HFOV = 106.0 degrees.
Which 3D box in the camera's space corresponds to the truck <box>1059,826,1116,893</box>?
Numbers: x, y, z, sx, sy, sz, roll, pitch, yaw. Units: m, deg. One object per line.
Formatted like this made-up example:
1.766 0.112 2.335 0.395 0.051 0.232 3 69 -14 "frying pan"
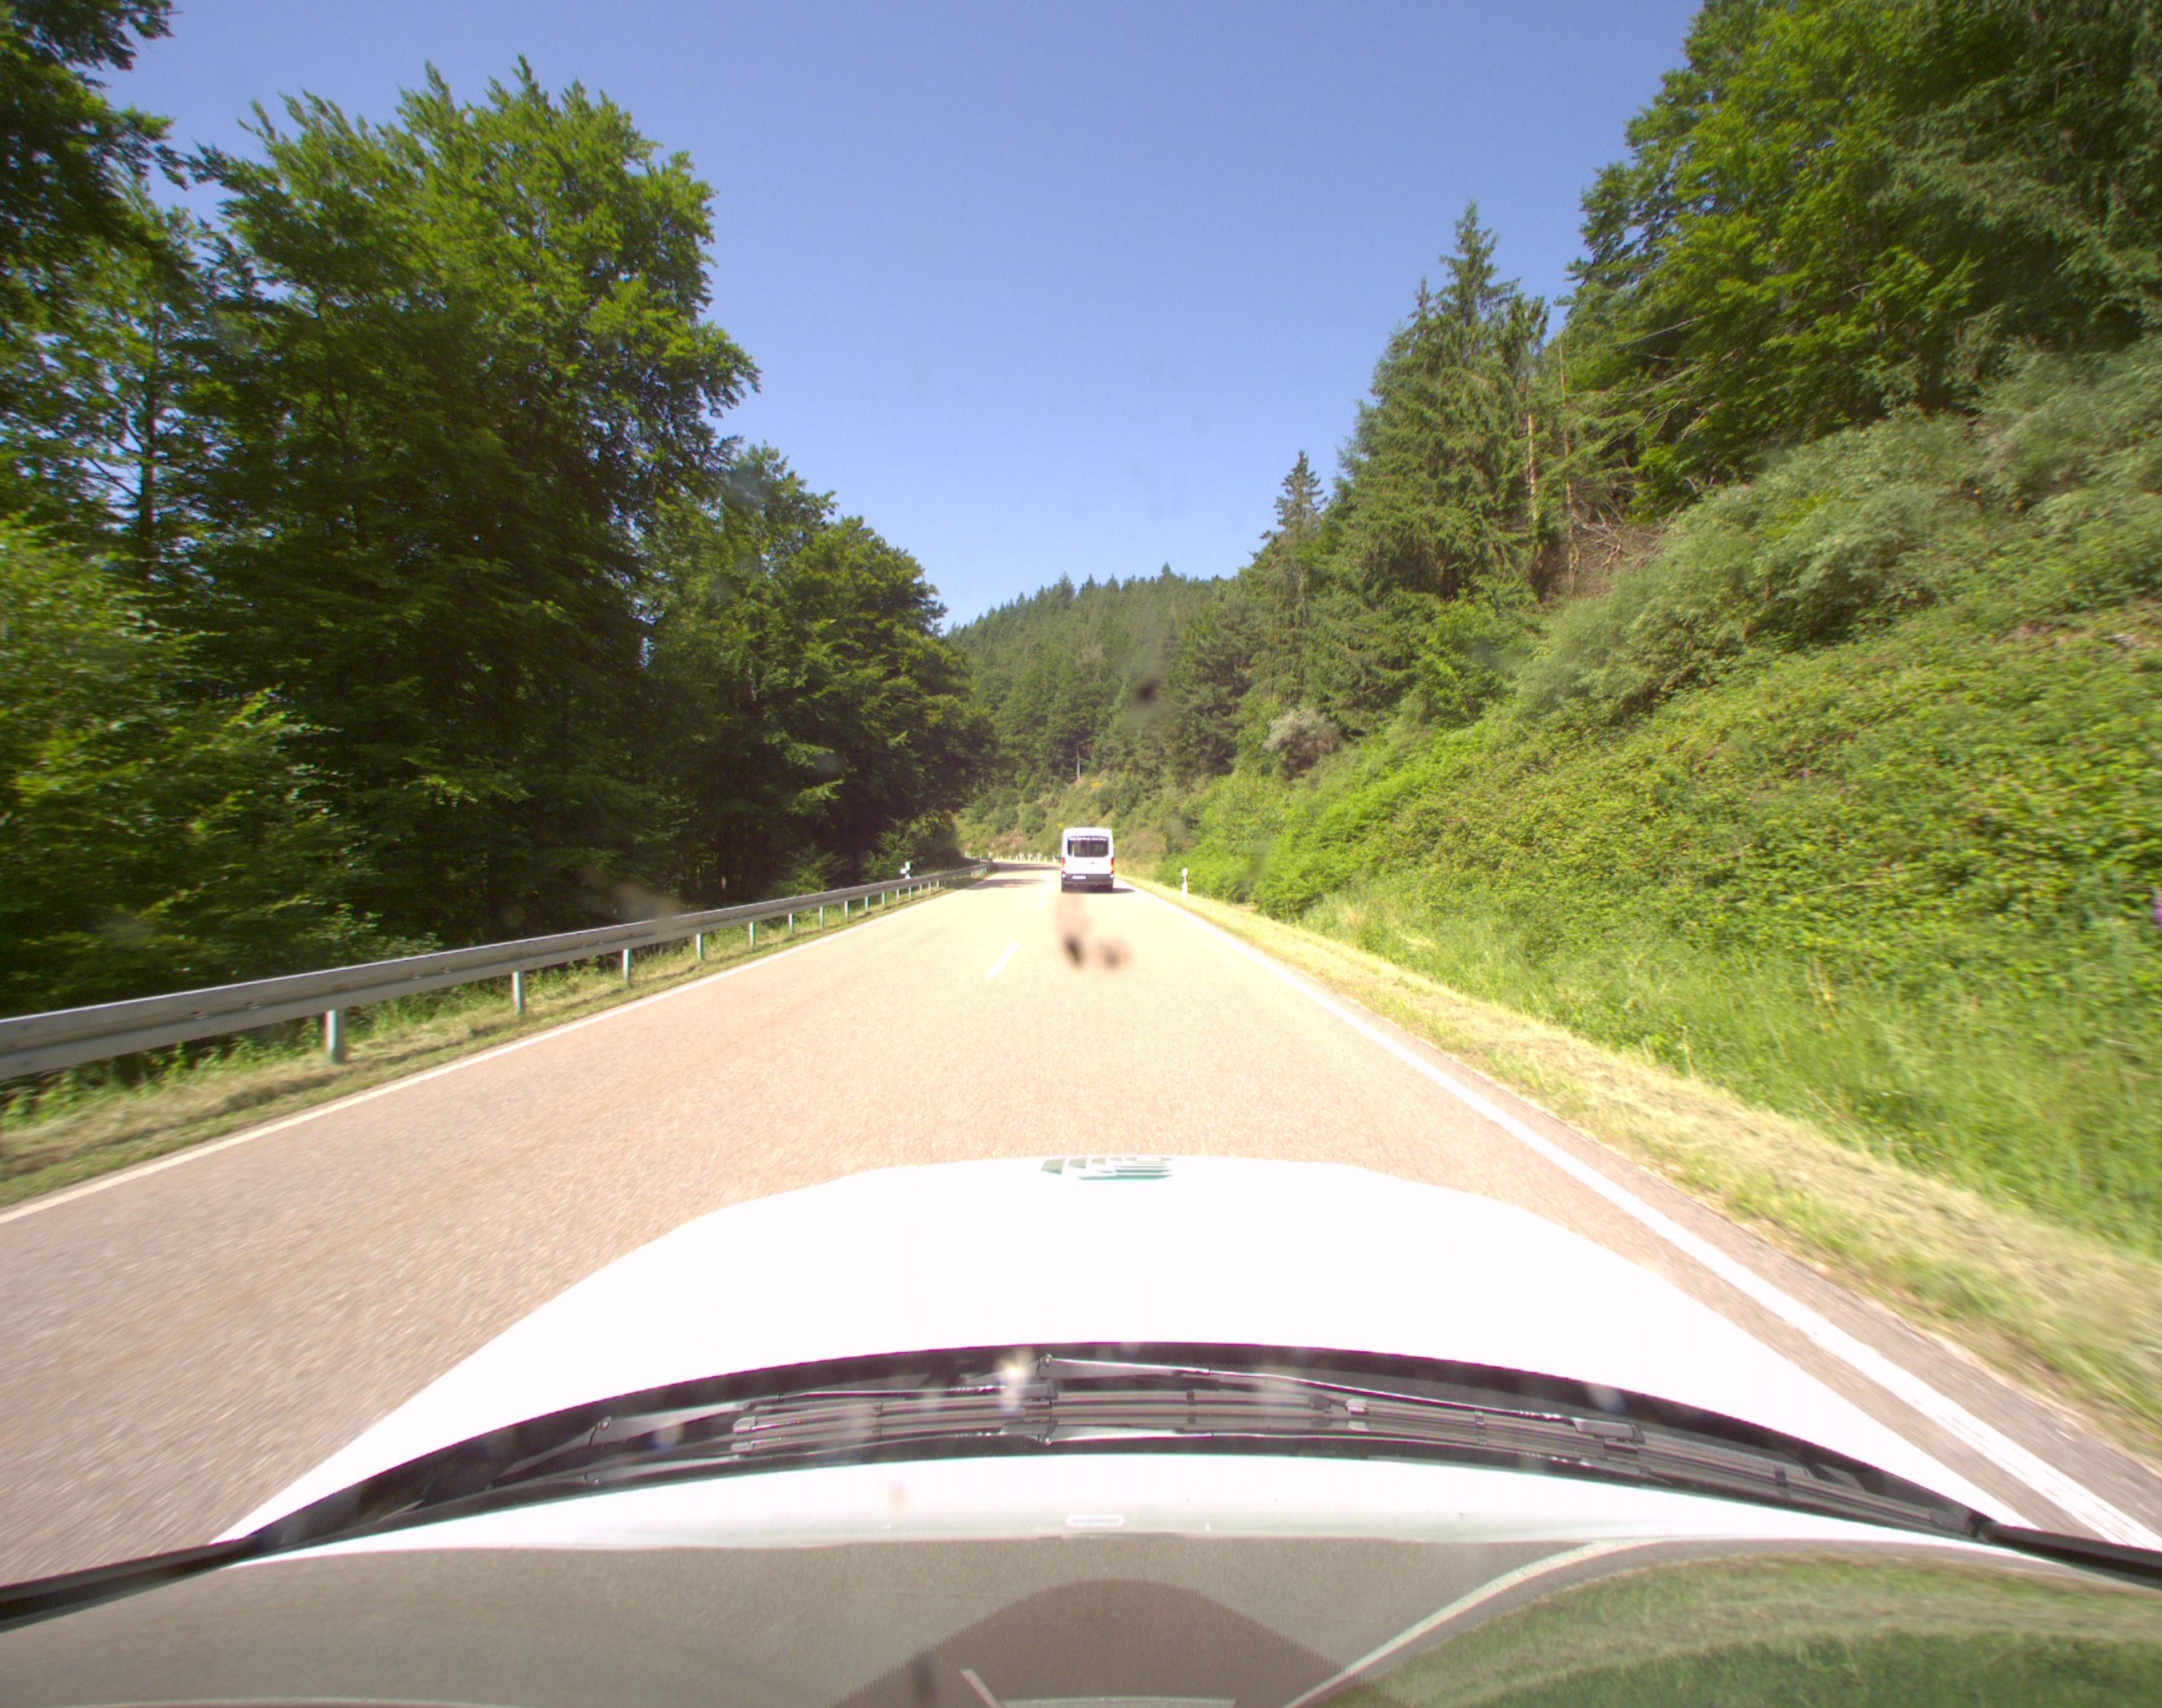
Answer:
0.196 0.196 32.584 2.078 2.459 4.872 0 0 -1 "truck"
